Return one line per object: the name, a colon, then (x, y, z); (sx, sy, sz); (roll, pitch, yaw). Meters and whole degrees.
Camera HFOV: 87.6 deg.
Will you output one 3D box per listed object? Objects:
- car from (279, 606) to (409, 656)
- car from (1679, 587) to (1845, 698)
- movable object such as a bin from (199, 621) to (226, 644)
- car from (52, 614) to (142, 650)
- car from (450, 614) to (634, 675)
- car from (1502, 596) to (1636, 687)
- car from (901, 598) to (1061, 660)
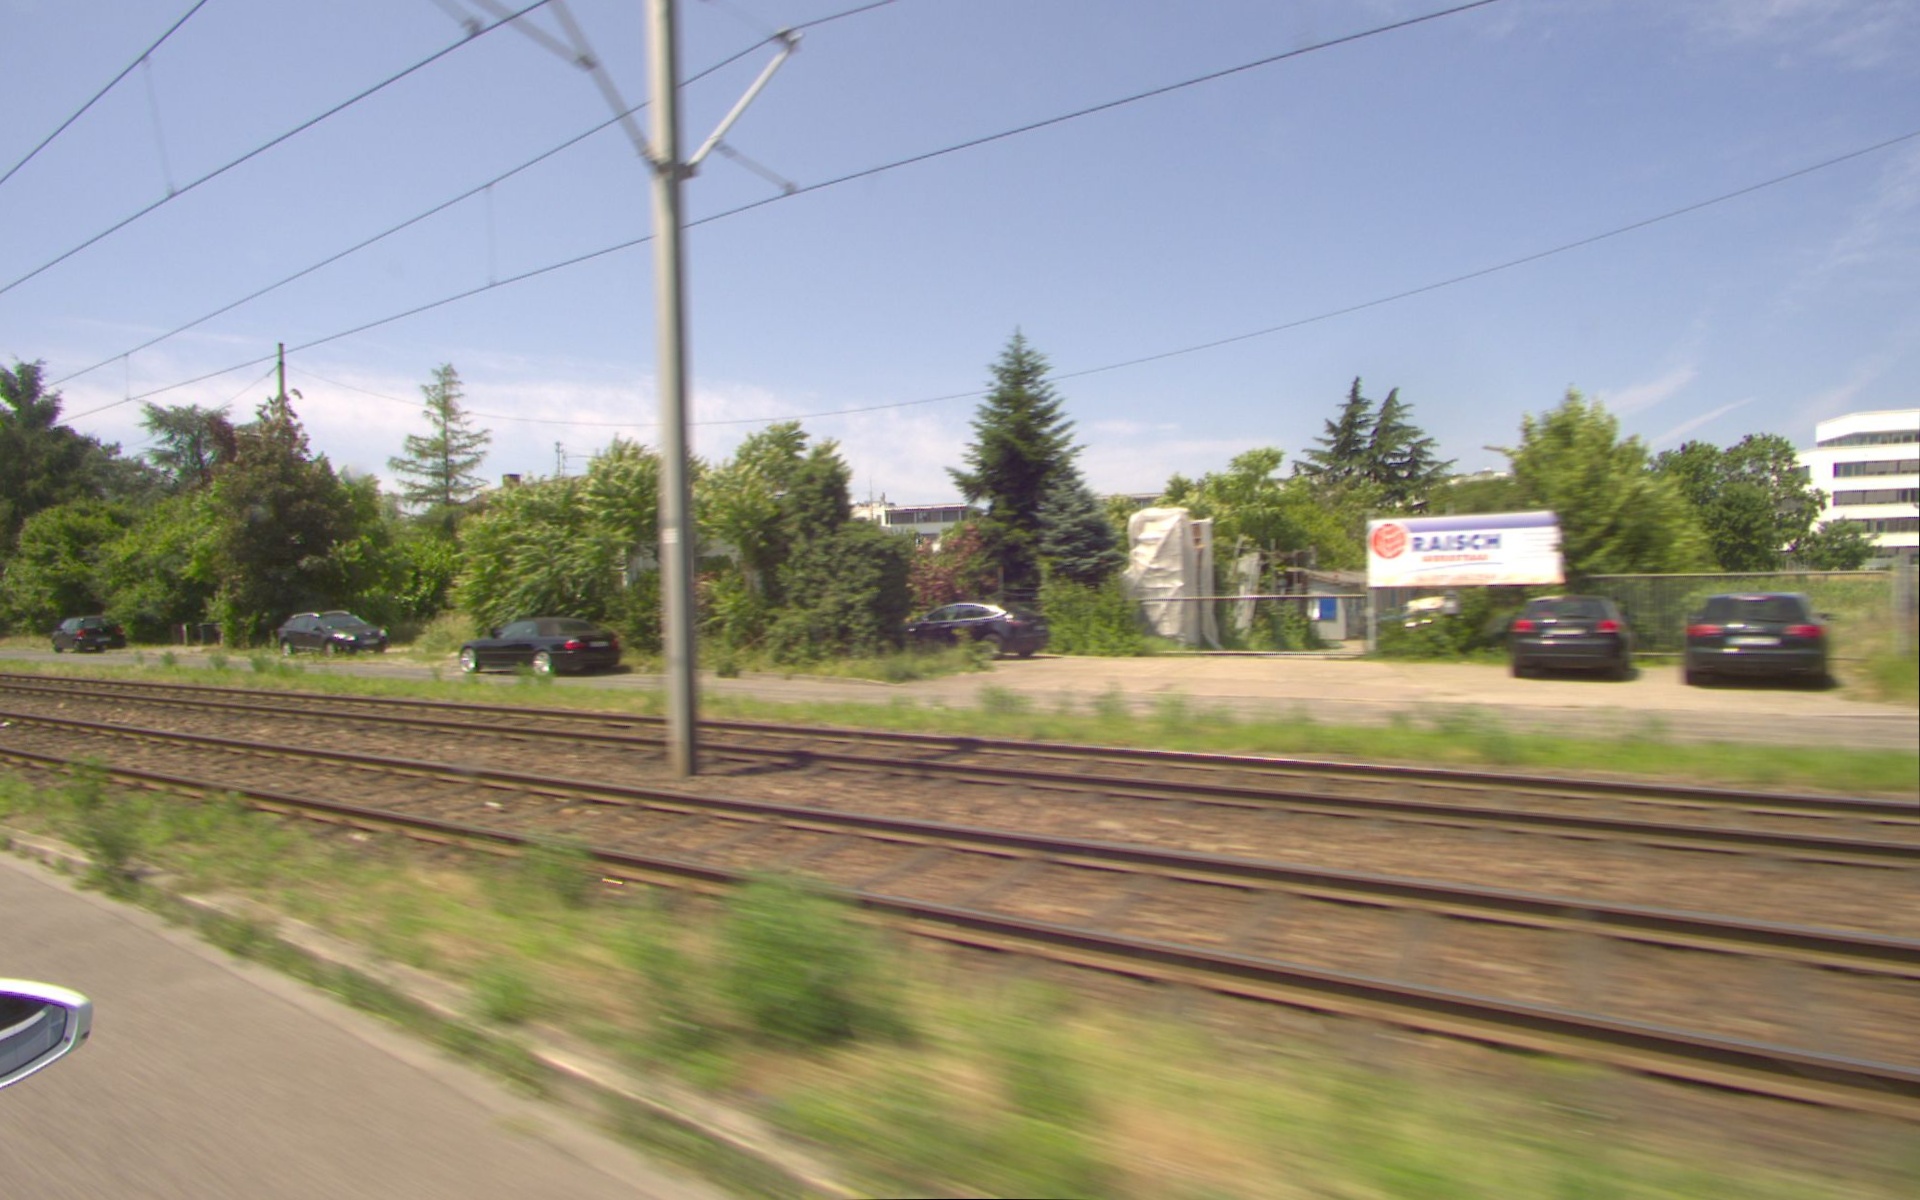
car: (-21.120, 1.040, 34.294); (4.489, 1.581, 1.932); (-1, 0, 31)
car: (12.730, 0.609, 16.068); (1.875, 1.537, 3.973); (-1, -1, 37)
movable object such as a bin: (-31.600, 1.354, 42.333); (0.612, 0.949, 0.722); (0, 0, 33)
car: (-36.817, 1.347, 42.700); (3.944, 1.489, 1.910); (-1, 0, 33)
car: (-10.185, 1.044, 24.333); (4.448, 1.347, 1.858); (-1, 0, 31)
car: (10.951, 0.681, 18.038); (1.872, 1.438, 3.720); (-1, -1, 32)
car: (0.513, 0.714, 25.193); (3.684, 1.438, 1.718); (-1, 0, 31)
